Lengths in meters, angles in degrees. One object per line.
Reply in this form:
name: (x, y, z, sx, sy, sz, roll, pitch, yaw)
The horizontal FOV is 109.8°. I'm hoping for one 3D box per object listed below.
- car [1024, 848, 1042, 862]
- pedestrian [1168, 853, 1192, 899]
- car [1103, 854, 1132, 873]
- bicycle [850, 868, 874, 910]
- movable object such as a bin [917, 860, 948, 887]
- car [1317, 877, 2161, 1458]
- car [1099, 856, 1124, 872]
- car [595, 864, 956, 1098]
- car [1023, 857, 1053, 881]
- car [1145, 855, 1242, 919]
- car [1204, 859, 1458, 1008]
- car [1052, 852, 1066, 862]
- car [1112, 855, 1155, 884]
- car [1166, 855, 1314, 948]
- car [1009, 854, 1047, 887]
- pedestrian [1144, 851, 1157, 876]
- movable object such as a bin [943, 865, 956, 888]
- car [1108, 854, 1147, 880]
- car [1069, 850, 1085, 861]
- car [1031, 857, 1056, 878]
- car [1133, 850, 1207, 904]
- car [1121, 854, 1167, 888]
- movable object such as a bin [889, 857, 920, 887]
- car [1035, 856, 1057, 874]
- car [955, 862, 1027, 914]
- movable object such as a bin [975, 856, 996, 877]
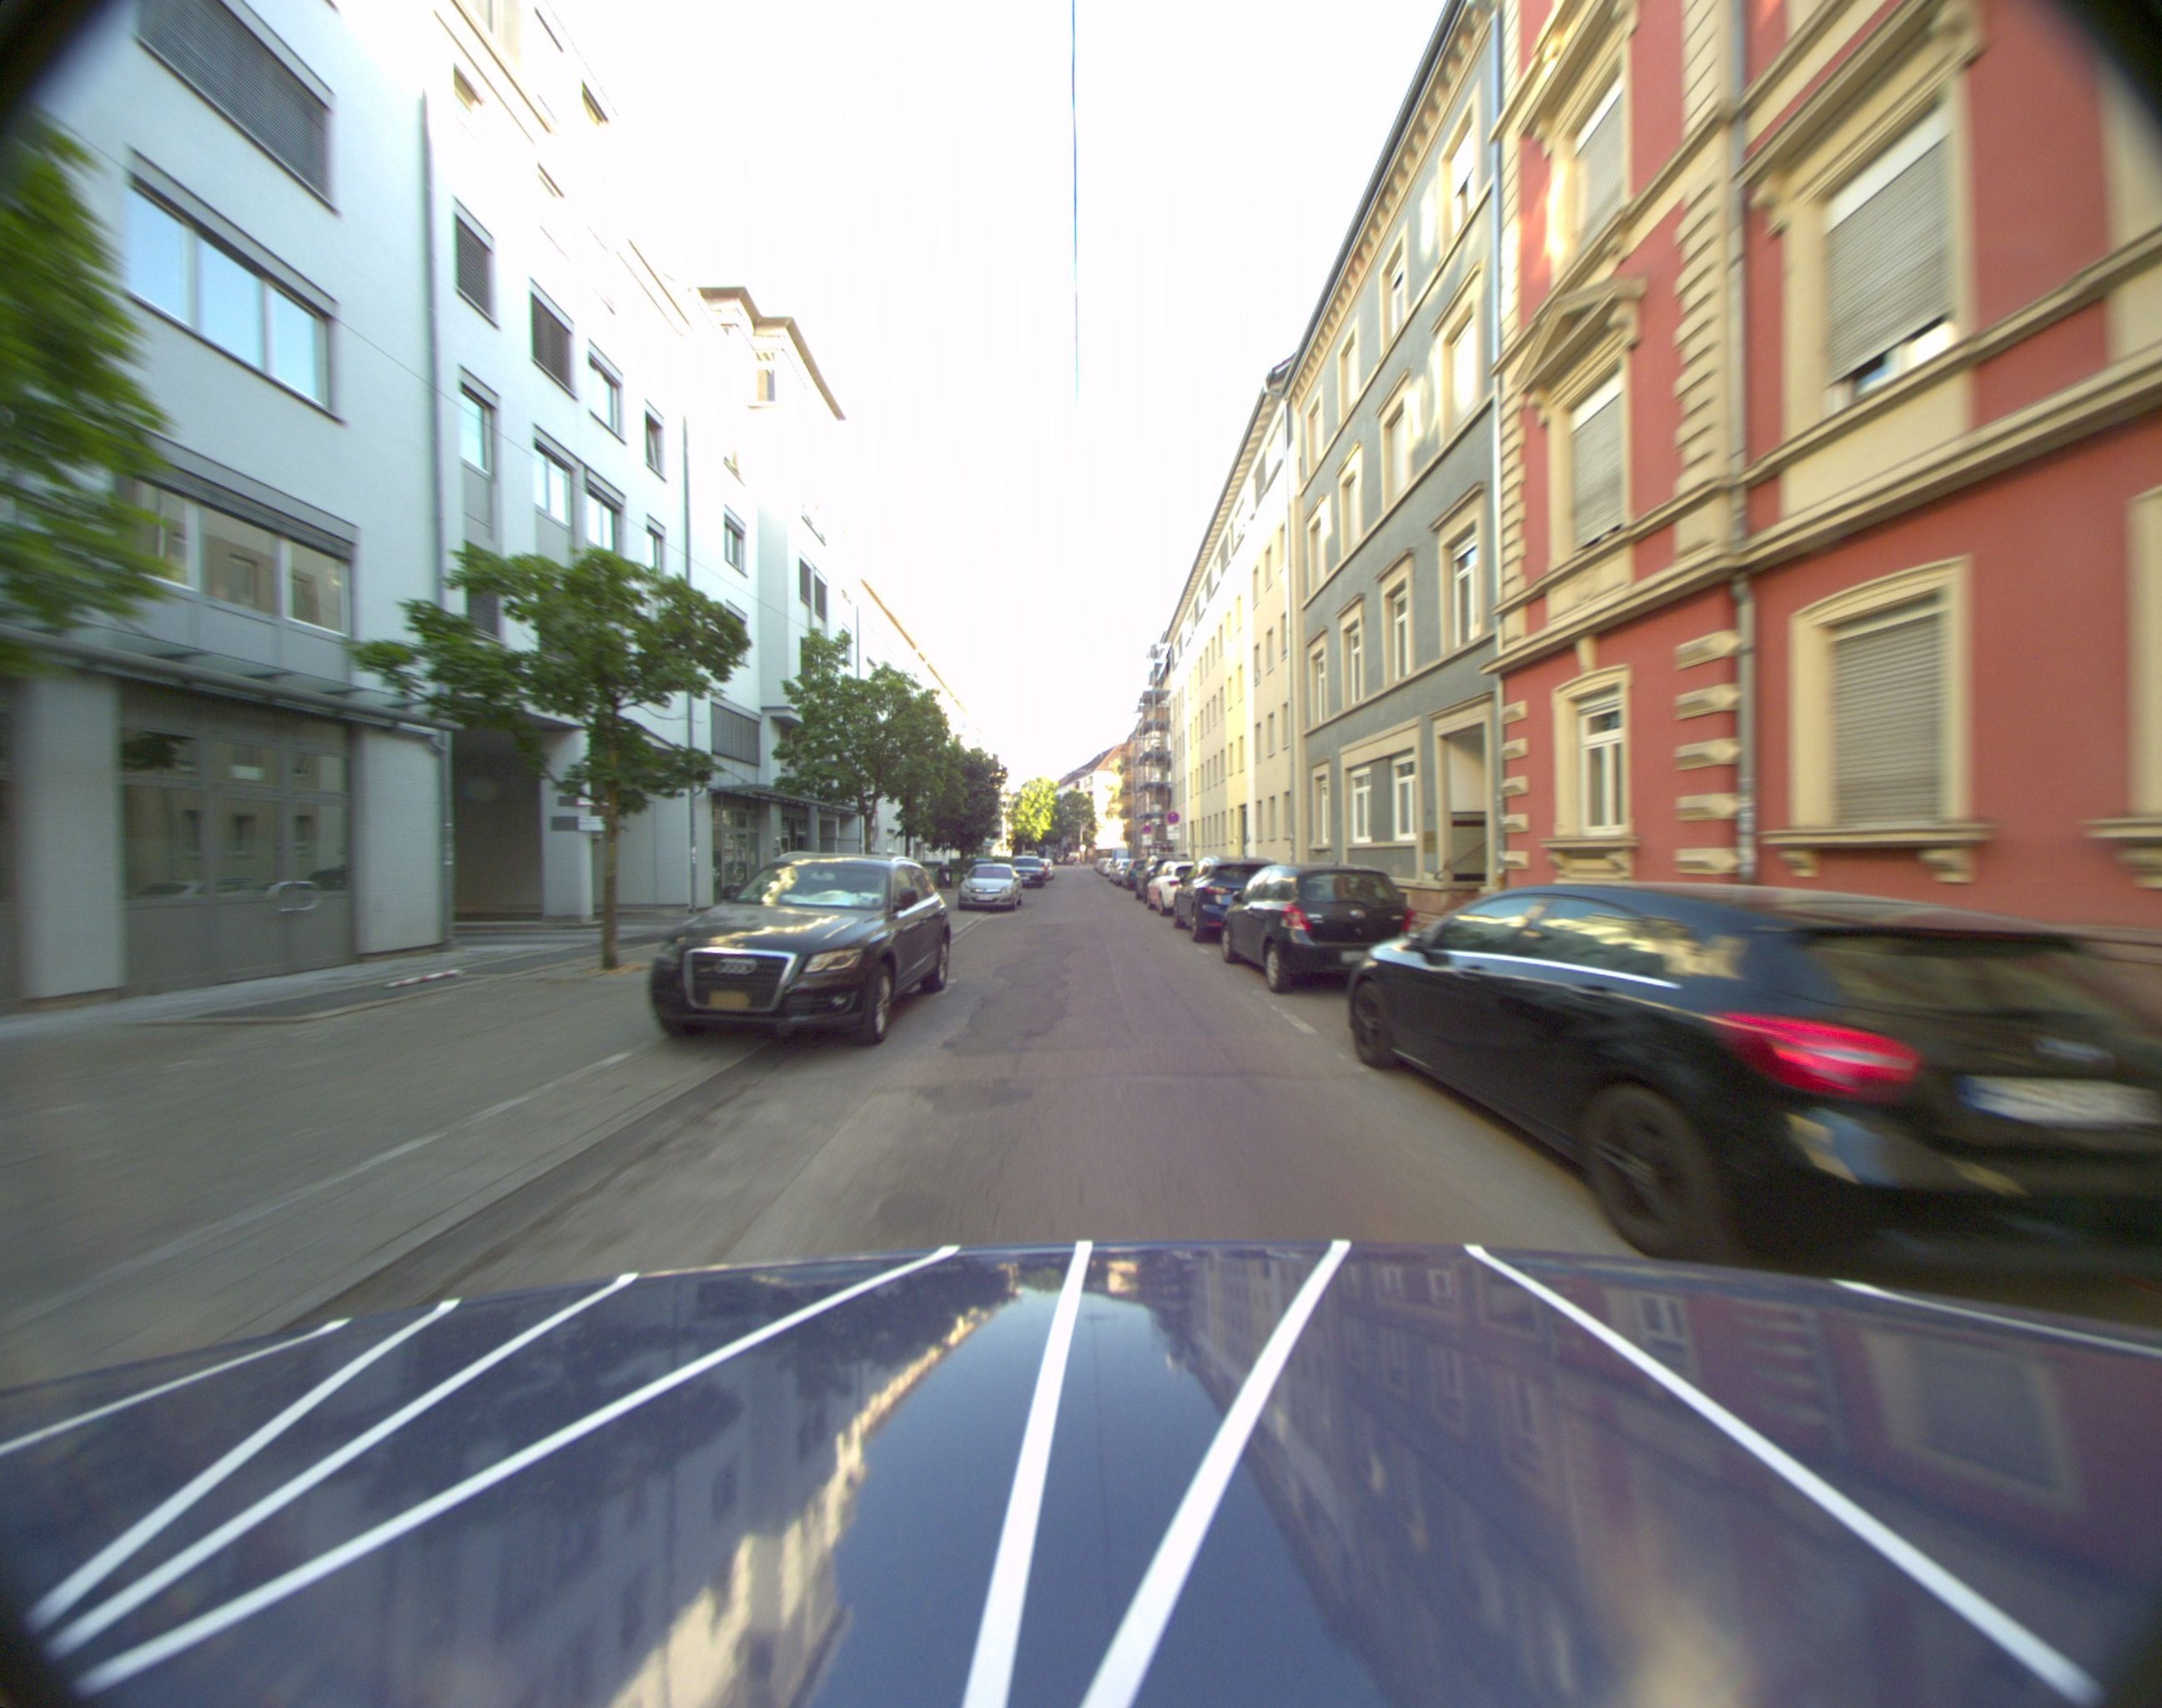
car: (-8.410, 0.170, 132.586, 2.163, 2.270, 6.200, 0, 0, -14)
pedestrian: (3.939, 0.853, 30.334, 0.791, 1.780, 1.092, 1, 1, 0)
car: (2.920, 0.736, 61.038, 1.999, 1.496, 3.999, 1, 0, -2)
bicycle: (-6.490, 1.014, 22.557, 0.522, 1.161, 1.738, 0, 0, -11)
movable object such as a bin: (-7.290, 0.960, 37.341, 1.264, 1.313, 1.139, 0, 0, 0)
car: (2.984, 0.940, 4.225, 1.926, 1.475, 4.266, 1, 0, -1)
car: (2.844, 0.879, 71.183, 1.999, 1.423, 3.999, 1, 0, -2)
car: (-2.579, 0.949, 7.722, 1.890, 1.613, 4.434, 1, 0, 0)
car: (-2.866, 0.991, 51.581, 1.680, 1.474, 3.652, 1, 0, 2)
car: (2.959, 0.829, 20.922, 1.926, 1.551, 4.266, 1, 0, -1)
car: (3.008, 0.865, 10.200, 1.906, 1.551, 4.240, 1, 0, -1)
car: (-4.053, 0.490, 139.861, 2.081, 1.760, 4.214, 1, 0, -8)
car: (2.785, 0.792, 41.219, 1.927, 1.479, 4.616, 1, 0, -1)
car: (2.940, 0.821, 15.019, 1.926, 1.551, 4.266, 1, 0, -1)
car: (-2.790, 0.826, 40.970, 1.876, 1.626, 4.721, 1, 0, -2)
pedestrian: (4.855, 0.670, 53.175, 0.791, 1.750, 1.092, 1, 1, 0)
movable object such as a bin: (-6.381, 1.092, 37.009, 0.529, 1.065, 0.625, 0, 1, 0)
car: (2.781, 0.750, 46.585, 1.928, 1.479, 4.616, 1, 0, -2)
car: (-0.698, 0.272, 123.880, 2.081, 1.760, 4.215, 1, 0, -7)
car: (-2.737, 0.964, 56.525, 1.681, 1.411, 4.135, 1, 0, 0)
car: (2.966, 0.741, 26.302, 1.926, 1.654, 4.468, 1, 0, -1)
car: (2.956, 0.780, 36.364, 1.783, 1.479, 4.420, 1, 0, 0)
movable object such as a bin: (-8.596, 0.852, 37.081, 1.264, 1.428, 1.139, 0, 0, 0)
car: (-2.828, 0.896, 62.714, 1.681, 1.411, 4.135, 1, 0, -1)
car: (-2.768, 1.006, 24.252, 1.768, 1.420, 4.344, 1, 0, 0)
movable object such as a bin: (-6.475, 0.846, 51.786, 1.287, 1.428, 1.223, 0, 0, 0)
